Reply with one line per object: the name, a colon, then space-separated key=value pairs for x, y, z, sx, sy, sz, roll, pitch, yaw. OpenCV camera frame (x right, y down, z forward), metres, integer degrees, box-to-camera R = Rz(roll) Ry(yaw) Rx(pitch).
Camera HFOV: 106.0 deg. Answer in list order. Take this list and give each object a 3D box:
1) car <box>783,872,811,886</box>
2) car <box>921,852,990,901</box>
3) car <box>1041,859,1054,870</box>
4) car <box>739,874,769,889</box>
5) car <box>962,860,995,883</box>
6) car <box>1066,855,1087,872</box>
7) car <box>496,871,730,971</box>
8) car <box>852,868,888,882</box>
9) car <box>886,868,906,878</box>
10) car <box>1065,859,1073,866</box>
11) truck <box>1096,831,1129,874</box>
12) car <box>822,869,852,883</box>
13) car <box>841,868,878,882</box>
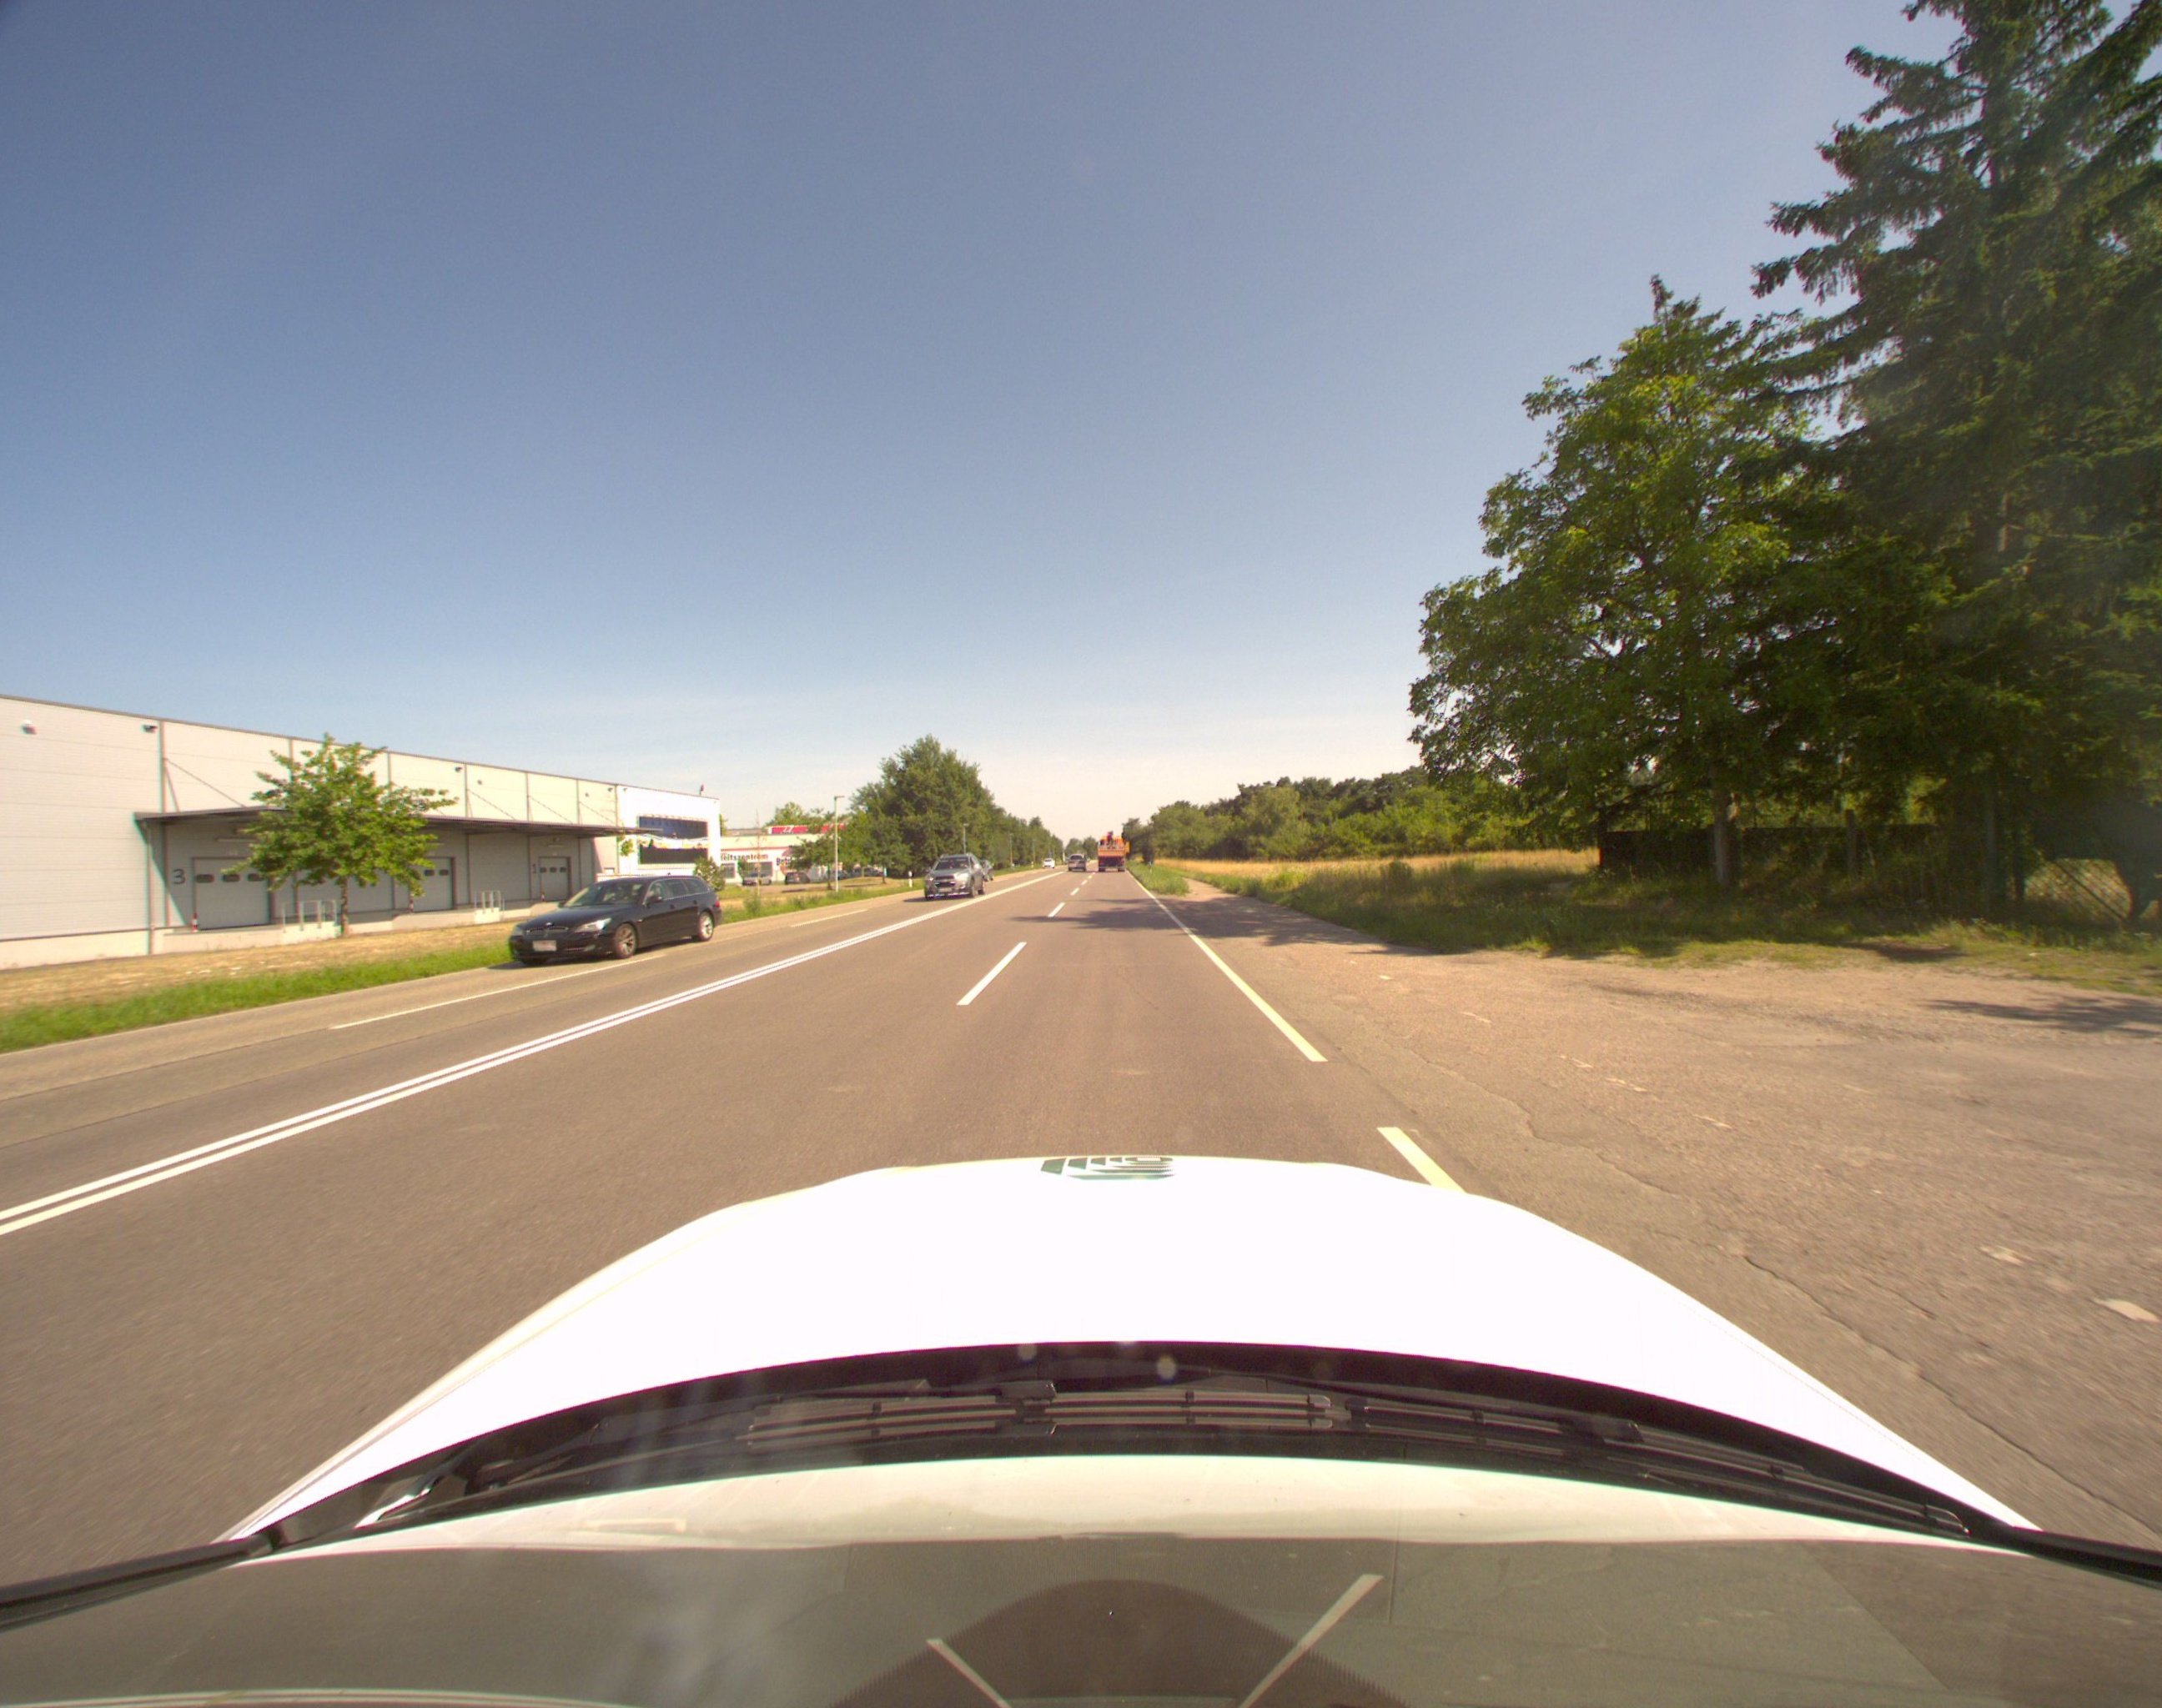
car: x=-30.427 y=2.680 z=87.371 sx=1.630 sy=1.390 sz=3.724 roll=-2 pitch=0 yaw=2
car: x=-4.871 y=0.835 z=32.308 sx=1.765 sy=1.714 sz=4.571 roll=-4 pitch=0 yaw=2
car: x=-4.967 y=1.549 z=121.919 sx=1.653 sy=1.437 sz=3.737 roll=-4 pitch=0 yaw=2
car: x=-35.069 y=2.927 z=87.387 sx=1.630 sy=1.410 sz=3.724 roll=-2 pitch=-1 yaw=2
car: x=-7.278 y=1.199 z=58.266 sx=1.722 sy=1.561 sz=4.217 roll=-1 pitch=0 yaw=2
car: x=-0.419 y=0.911 z=82.231 sx=1.987 sy=1.583 sz=4.000 roll=-2 pitch=0 yaw=1
car: x=-8.821 y=1.170 z=15.939 sx=1.646 sy=1.480 sz=4.742 roll=-4 pitch=0 yaw=2
car: x=-26.385 y=2.651 z=102.079 sx=3.972 sy=1.501 sz=1.758 roll=-3 pitch=-1 yaw=1
car: x=-26.824 y=2.708 z=118.102 sx=1.781 sy=1.349 sz=4.661 roll=-3 pitch=-1 yaw=0
car: x=-2.659 y=1.832 z=184.567 sx=1.592 sy=1.442 sz=4.001 roll=-4 pitch=0 yaw=2
truck: x=2.913 y=-0.116 z=77.475 sx=2.863 sy=3.880 sz=7.398 roll=0 pitch=0 yaw=0
car: x=-28.433 y=2.581 z=94.807 sx=1.750 sy=1.501 sz=3.952 roll=-2 pitch=-1 yaw=-41
car: x=-26.629 y=2.535 z=97.989 sx=3.972 sy=1.501 sz=1.758 roll=-3 pitch=-1 yaw=1
